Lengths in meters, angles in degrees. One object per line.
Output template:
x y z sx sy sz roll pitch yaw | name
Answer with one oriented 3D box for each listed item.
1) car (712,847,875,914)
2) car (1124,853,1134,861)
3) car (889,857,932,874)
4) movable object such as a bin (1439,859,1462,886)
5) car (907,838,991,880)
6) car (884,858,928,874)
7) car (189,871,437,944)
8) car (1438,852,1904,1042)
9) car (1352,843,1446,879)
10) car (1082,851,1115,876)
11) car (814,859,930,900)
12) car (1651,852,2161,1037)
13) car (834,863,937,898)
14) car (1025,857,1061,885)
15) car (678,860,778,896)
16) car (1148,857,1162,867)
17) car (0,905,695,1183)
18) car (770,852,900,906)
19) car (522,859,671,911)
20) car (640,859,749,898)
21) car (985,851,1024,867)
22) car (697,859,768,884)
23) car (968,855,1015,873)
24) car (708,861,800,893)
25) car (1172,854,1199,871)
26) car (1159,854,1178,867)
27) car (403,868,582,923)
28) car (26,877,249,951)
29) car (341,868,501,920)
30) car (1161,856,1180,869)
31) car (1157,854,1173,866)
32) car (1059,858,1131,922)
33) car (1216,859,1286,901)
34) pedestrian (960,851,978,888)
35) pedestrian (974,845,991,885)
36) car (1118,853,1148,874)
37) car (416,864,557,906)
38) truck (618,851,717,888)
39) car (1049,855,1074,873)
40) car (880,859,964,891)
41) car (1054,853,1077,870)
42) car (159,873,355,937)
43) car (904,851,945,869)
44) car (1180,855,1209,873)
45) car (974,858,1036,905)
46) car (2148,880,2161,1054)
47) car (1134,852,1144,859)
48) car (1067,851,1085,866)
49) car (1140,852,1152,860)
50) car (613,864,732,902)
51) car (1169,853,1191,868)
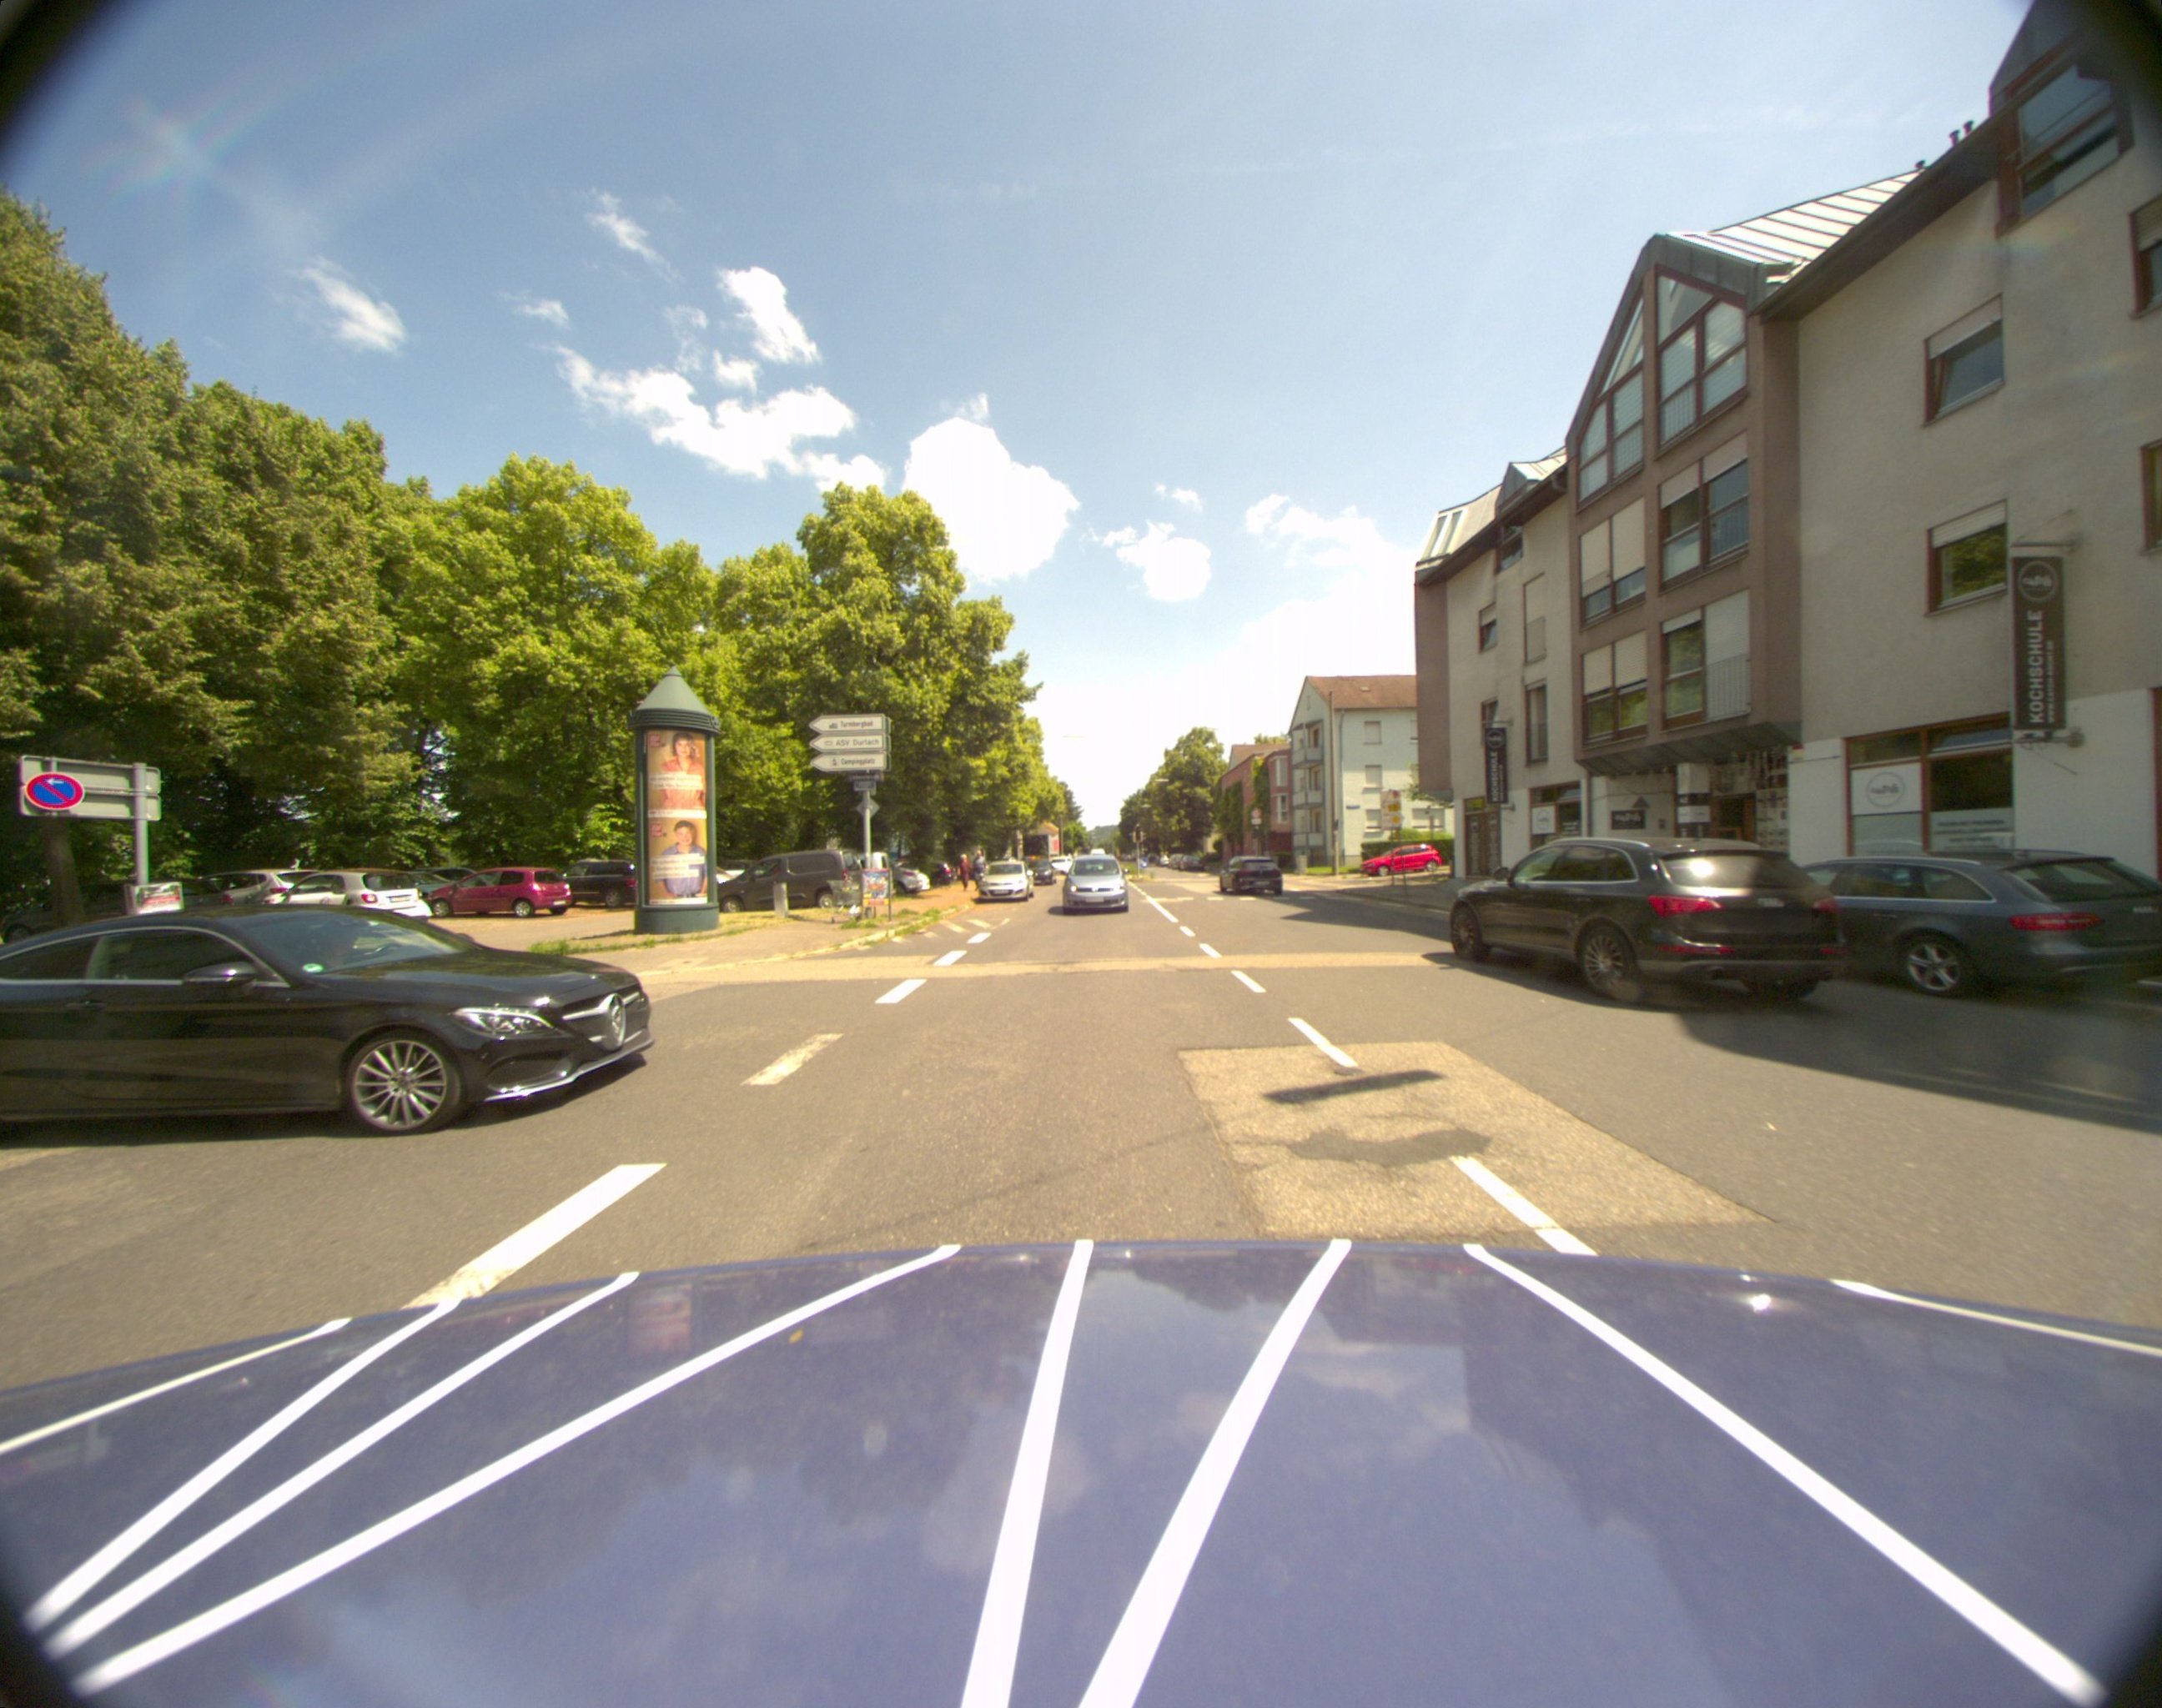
-8.398 0.748 22.492 3.997 1.740 2.016 -2 1 1 | car
9.298 0.499 147.753 1.752 1.499 4.000 -2 0 0 | car
-16.568 1.075 73.917 3.808 1.574 1.737 -1 0 -3 | car
14.941 0.735 30.730 0.674 1.090 0.631 -1 1 -39 | movable object such as a bin
-8.059 0.288 46.758 4.613 2.263 2.106 -3 0 2 | car
-16.450 1.131 71.523 3.808 1.456 1.737 0 0 -3 | car
-17.694 1.205 17.647 3.997 1.545 1.680 0 1 -1 | car
6.068 0.784 8.692 1.817 1.611 4.440 0 0 -1 | car
16.320 0.375 39.085 3.997 1.443 1.733 -5 -1 0 | car
1.266 0.615 52.867 1.998 1.652 4.626 -1 0 4 | car
-8.185 0.981 29.999 3.997 1.390 1.808 -2 0 0 | car
9.404 0.760 8.898 1.844 1.439 4.969 -4 0 3 | car
-8.455 1.119 33.025 3.996 1.420 1.669 -1 0 2 | car
-2.071 0.901 42.402 1.667 1.420 4.000 -2 0 2 | car
-16.990 1.127 36.692 3.996 1.652 1.805 0 1 3 | car
11.421 1.221 116.830 1.757 1.325 3.608 -2 0 0 | car
-5.551 1.182 5.345 4.593 1.357 2.000 -2 0 -1 | car
-8.045 0.796 25.107 3.774 1.657 1.663 -1 0 -3 | car
-16.752 1.047 26.409 3.998 1.669 1.701 0 1 -2 | car
-17.288 1.085 34.122 3.997 1.631 1.680 0 1 -1 | car
-7.684 0.523 76.303 3.762 1.518 1.853 -1 0 -2 | car
-22.466 1.133 49.054 3.806 1.579 1.738 0 0 4 | car
-7.524 0.812 64.236 3.848 1.350 1.629 -2 0 -7 | car
-16.938 1.167 39.447 3.996 1.577 1.805 0 1 3 | car
10.142 0.832 74.072 1.891 1.531 4.568 -1 0 0 | car
10.805 0.810 93.889 1.752 1.499 4.000 -2 0 0 | car
-17.535 1.211 22.771 3.997 1.519 1.680 0 1 -1 | car
-21.501 1.335 17.415 3.070 1.545 1.591 0 1 -1 | car
-21.770 1.296 25.144 3.909 1.459 1.690 -3 0 5 | car
10.269 0.970 87.381 1.752 1.433 4.000 -2 0 0 | car
10.969 0.768 99.054 1.572 1.499 4.000 -2 0 0 | car
0.389 0.895 20.922 1.747 1.513 4.223 -1 0 1 | car
6.370 0.931 28.976 1.747 1.411 4.223 0 0 0 | car
-4.957 0.672 33.720 0.618 1.584 0.737 -2 1 1 | pedestrian
-4.364 0.471 33.714 0.618 1.754 0.737 -2 1 1 | pedestrian
4.128 0.747 60.946 1.868 1.516 4.290 -2 0 -3 | car
-21.848 1.119 28.017 3.807 1.451 1.738 -1 0 0 | car
-21.480 0.800 39.599 4.130 1.804 1.879 -1 0 3 | truck
-1.631 0.809 64.204 1.721 1.434 4.112 -3 0 3 | car
-8.464 1.108 40.564 3.996 1.464 1.717 -3 1 3 | car
-1.417 0.719 72.062 1.867 1.516 4.208 -2 0 2 | car
-21.674 1.317 20.077 3.389 1.545 1.591 0 1 -1 | car
-17.875 0.652 86.817 4.374 1.985 1.854 0 0 -3 | car
10.106 0.846 67.964 1.891 1.531 4.568 -1 0 0 | car
-2.683 0.942 27.757 1.771 1.476 3.891 -2 0 1 | car
9.412 0.861 3.887 1.844 1.376 4.327 -4 0 2 | car
11.825 0.250 155.093 1.757 1.325 3.608 -2 0 0 | car
-0.492 0.462 79.608 1.775 1.434 3.338 -2 0 2 | car
11.772 0.362 138.414 1.757 1.325 3.608 -2 0 0 | car
-16.848 1.179 31.479 3.997 1.475 1.680 0 1 -1 | car
10.401 0.689 80.205 1.752 1.499 4.000 -2 0 0 | car
